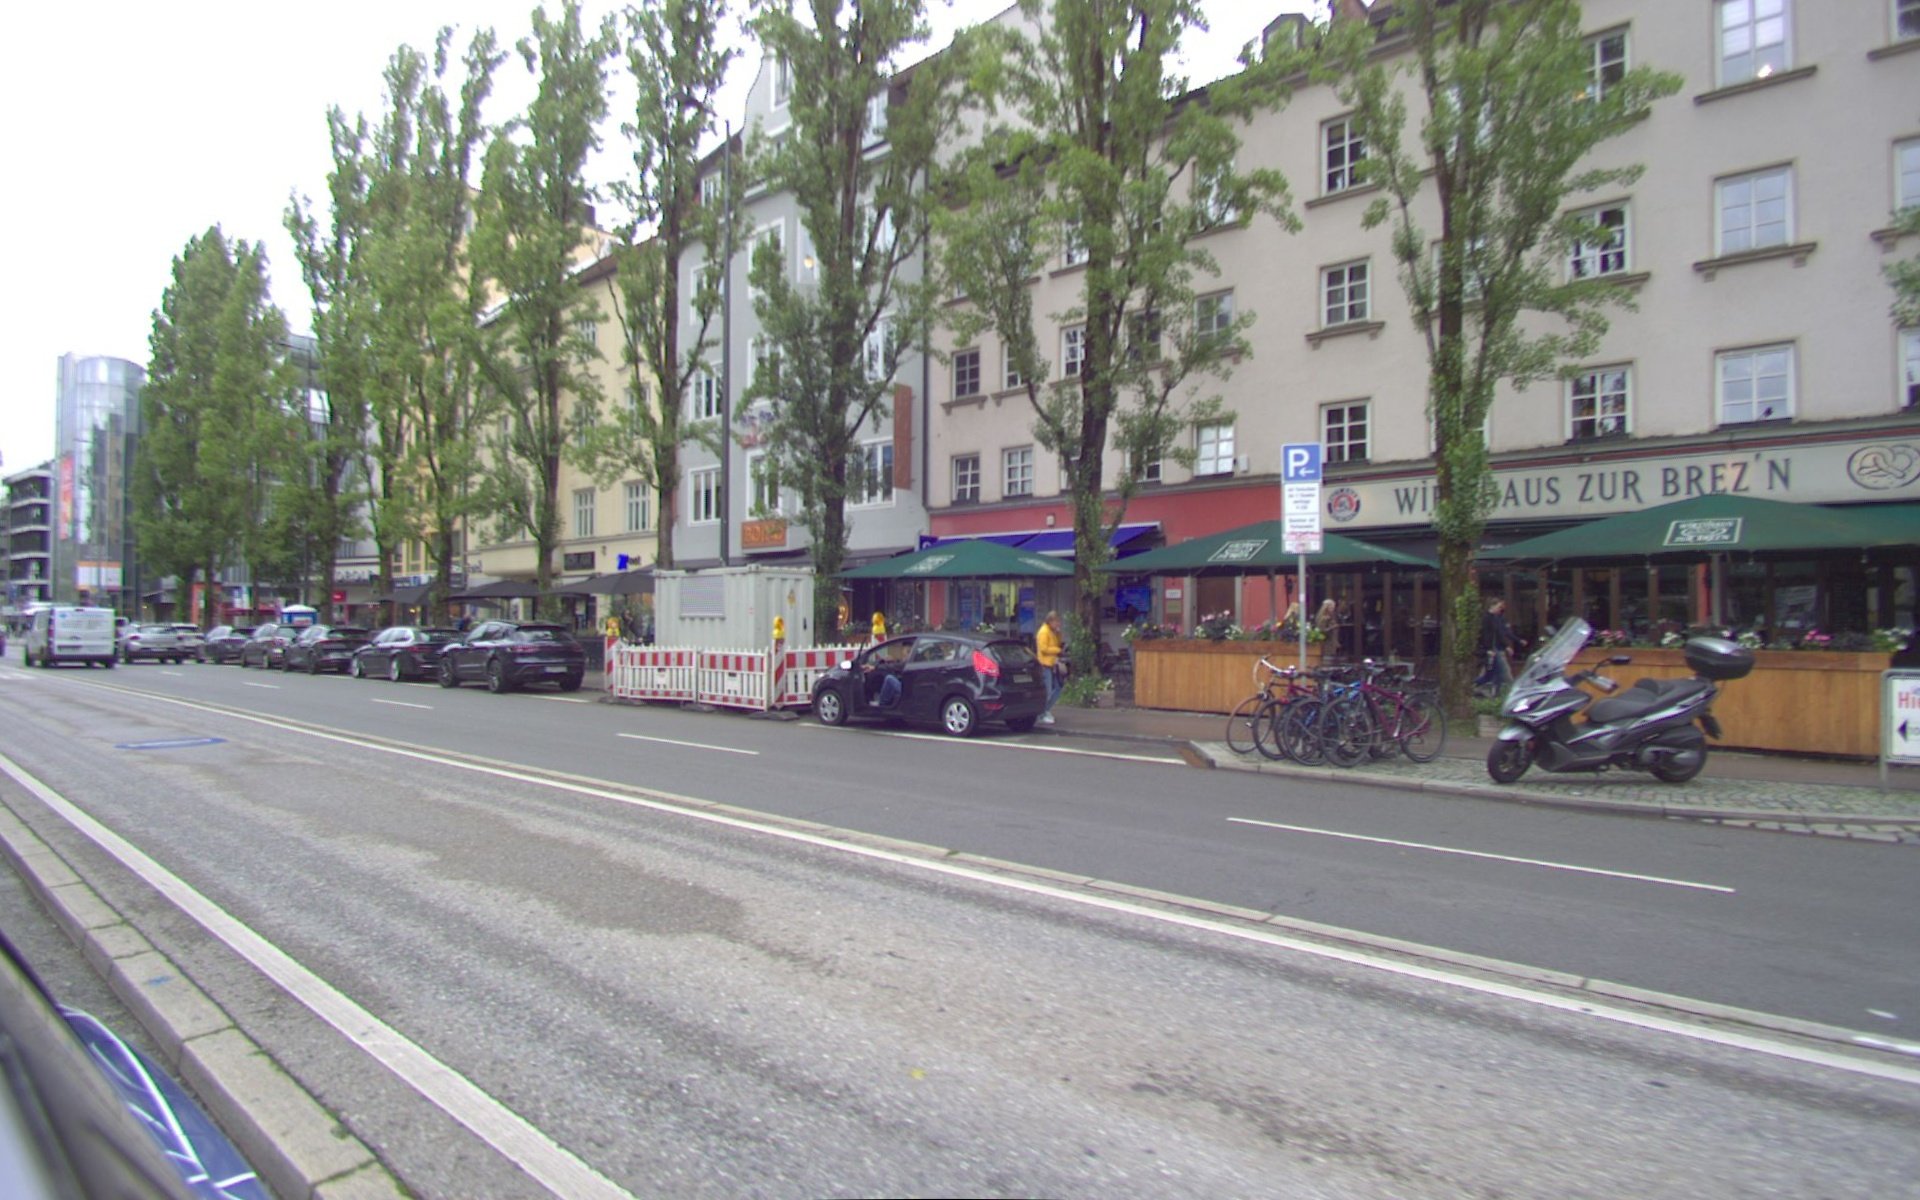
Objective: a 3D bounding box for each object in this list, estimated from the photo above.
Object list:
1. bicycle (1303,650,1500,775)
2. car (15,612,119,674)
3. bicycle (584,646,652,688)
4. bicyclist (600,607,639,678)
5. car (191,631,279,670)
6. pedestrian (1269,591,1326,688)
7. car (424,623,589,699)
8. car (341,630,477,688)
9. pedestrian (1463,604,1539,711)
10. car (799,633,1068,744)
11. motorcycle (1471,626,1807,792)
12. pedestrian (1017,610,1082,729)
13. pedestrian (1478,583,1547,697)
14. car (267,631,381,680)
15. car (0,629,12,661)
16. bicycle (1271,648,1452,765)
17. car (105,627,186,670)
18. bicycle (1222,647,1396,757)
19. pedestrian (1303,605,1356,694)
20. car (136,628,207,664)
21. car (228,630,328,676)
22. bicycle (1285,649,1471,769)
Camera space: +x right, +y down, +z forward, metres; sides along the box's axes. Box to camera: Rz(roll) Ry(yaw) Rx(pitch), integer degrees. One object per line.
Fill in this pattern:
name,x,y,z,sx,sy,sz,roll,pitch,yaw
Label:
bicycle,4.428,1.105,10.141,1.949,1.134,0.362,-1,0,-12
car,-29.928,1.412,33.850,5.068,1.947,1.873,-1,-3,41
bicycle,-8.492,1.637,25.104,2.173,0.976,0.605,-2,-2,41
bicyclist,-8.428,1.035,25.063,0.816,1.718,0.598,-1,-2,42
car,-28.183,1.923,39.278,4.572,1.451,1.778,-1,-3,41
pedestrian,6.921,0.799,20.757,0.905,1.941,0.690,-2,-3,44
car,-10.682,1.371,23.692,4.572,1.625,1.778,-1,-3,41
car,-15.091,1.558,27.629,4.572,1.451,1.778,-1,-3,41
pedestrian,9.105,0.945,17.038,0.950,1.735,0.690,-2,-3,44
car,-0.456,1.230,15.099,3.779,1.433,1.739,-1,-3,38
motorcycle,6.093,0.948,9.216,2.425,1.425,0.744,0,-2,8
pedestrian,1.353,1.036,15.303,0.731,1.739,0.691,-1,-2,38
pedestrian,9.720,0.700,17.813,0.905,1.941,0.690,-2,-3,44
car,-20.093,1.697,31.898,4.572,1.451,1.778,-1,-3,41
car,-45.173,2.052,46.724,3.593,1.451,1.596,-1,-3,40
bicycle,4.271,1.112,10.747,1.949,1.134,0.283,-1,0,-12
car,-31.169,1.844,38.684,4.075,1.553,1.696,-1,-3,41
bicycle,3.940,1.126,11.428,1.949,1.134,0.343,-1,0,-12
pedestrian,7.040,0.930,19.275,0.732,1.636,0.690,-2,-3,44
car,-36.057,2.082,46.243,4.102,1.590,1.778,-1,-3,41
car,-23.998,1.815,35.556,4.572,1.515,1.778,-1,-3,41
bicycle,4.332,1.112,10.469,1.949,1.134,0.283,-1,0,-12
